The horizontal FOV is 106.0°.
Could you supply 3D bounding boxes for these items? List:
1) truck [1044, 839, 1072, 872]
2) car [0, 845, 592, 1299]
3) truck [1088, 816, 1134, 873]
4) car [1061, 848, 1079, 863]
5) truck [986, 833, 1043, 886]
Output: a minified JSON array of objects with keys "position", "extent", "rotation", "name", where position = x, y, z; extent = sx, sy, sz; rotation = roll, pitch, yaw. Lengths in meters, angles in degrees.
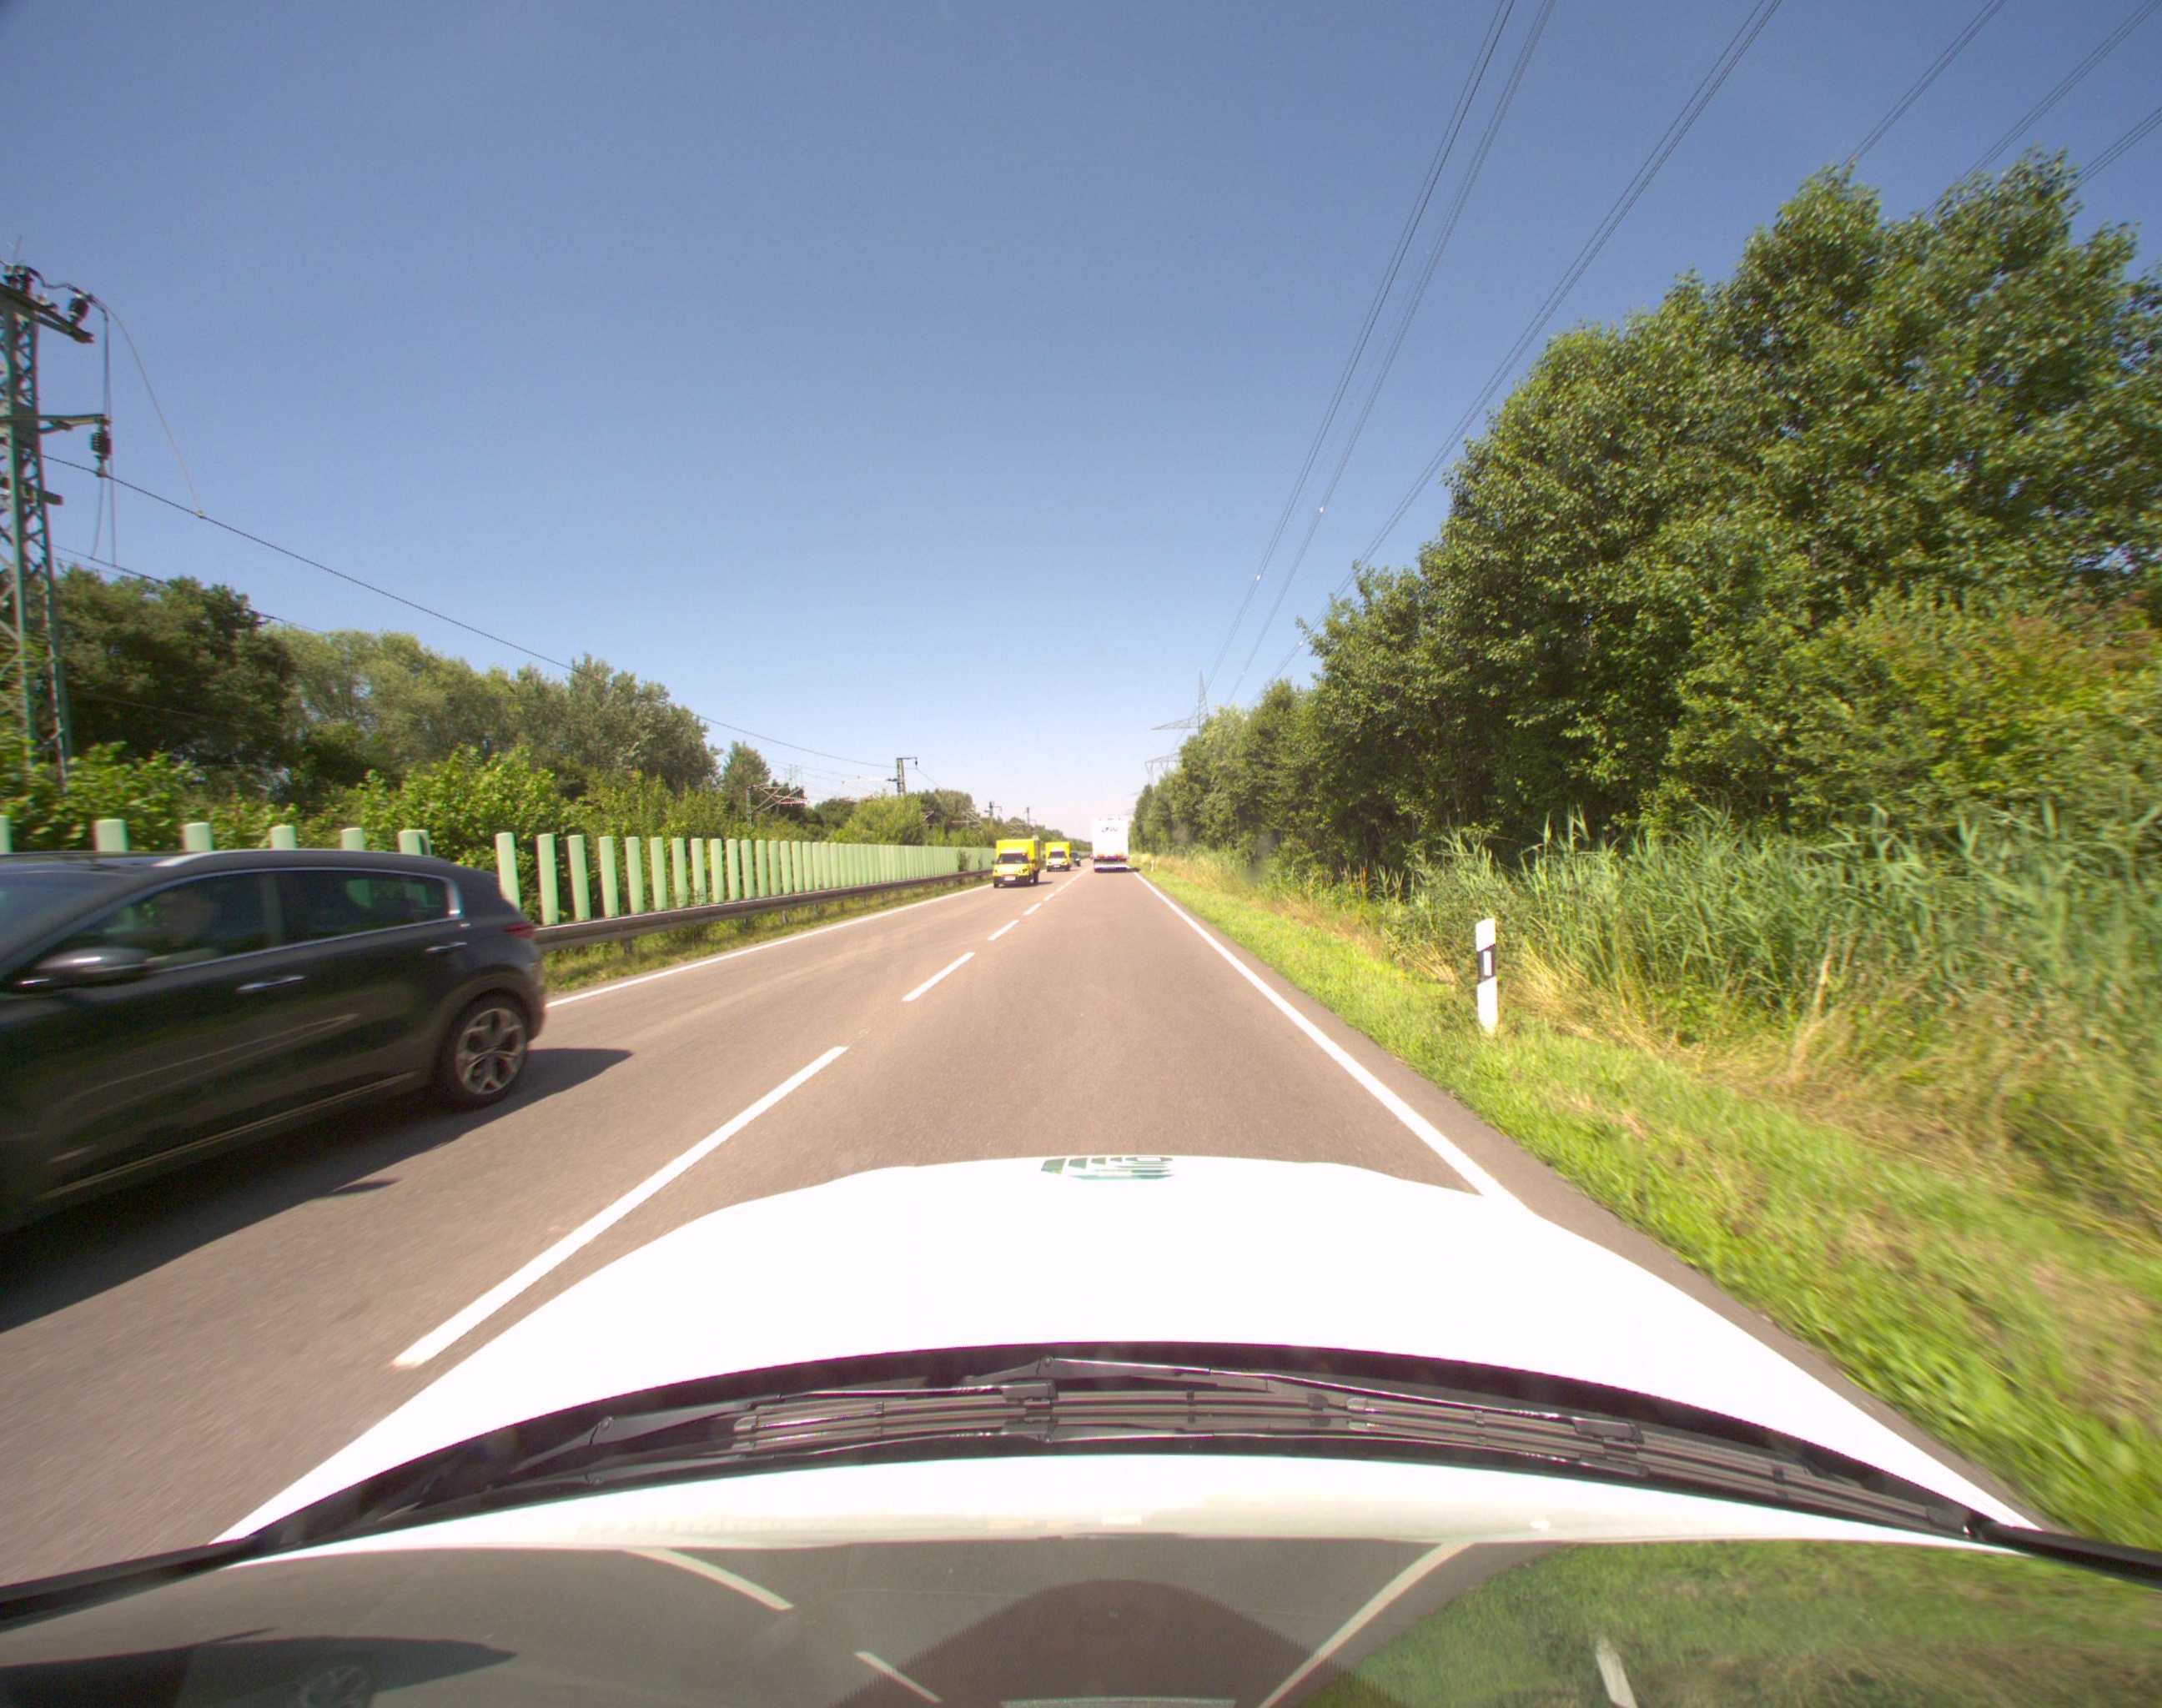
[{"position":[-1.937,0.100,70.044],"extent":[2.072,2.646,5.706],"rotation":[-1,0,2],"name":"truck"},{"position":[-4.652,0.781,3.919],"extent":[1.794,1.587,4.373],"rotation":[-1,0,2],"name":"car"},{"position":[2.317,-0.703,64.875],"extent":[3.180,4.042,12.011],"rotation":[-2,0,2],"name":"truck"},{"position":[-1.252,0.171,93.437],"extent":[1.807,1.694,4.708],"rotation":[-2,0,2],"name":"car"},{"position":[-3.171,0.255,40.013],"extent":[1.985,2.348,6.015],"rotation":[-2,0,2],"name":"truck"}]
